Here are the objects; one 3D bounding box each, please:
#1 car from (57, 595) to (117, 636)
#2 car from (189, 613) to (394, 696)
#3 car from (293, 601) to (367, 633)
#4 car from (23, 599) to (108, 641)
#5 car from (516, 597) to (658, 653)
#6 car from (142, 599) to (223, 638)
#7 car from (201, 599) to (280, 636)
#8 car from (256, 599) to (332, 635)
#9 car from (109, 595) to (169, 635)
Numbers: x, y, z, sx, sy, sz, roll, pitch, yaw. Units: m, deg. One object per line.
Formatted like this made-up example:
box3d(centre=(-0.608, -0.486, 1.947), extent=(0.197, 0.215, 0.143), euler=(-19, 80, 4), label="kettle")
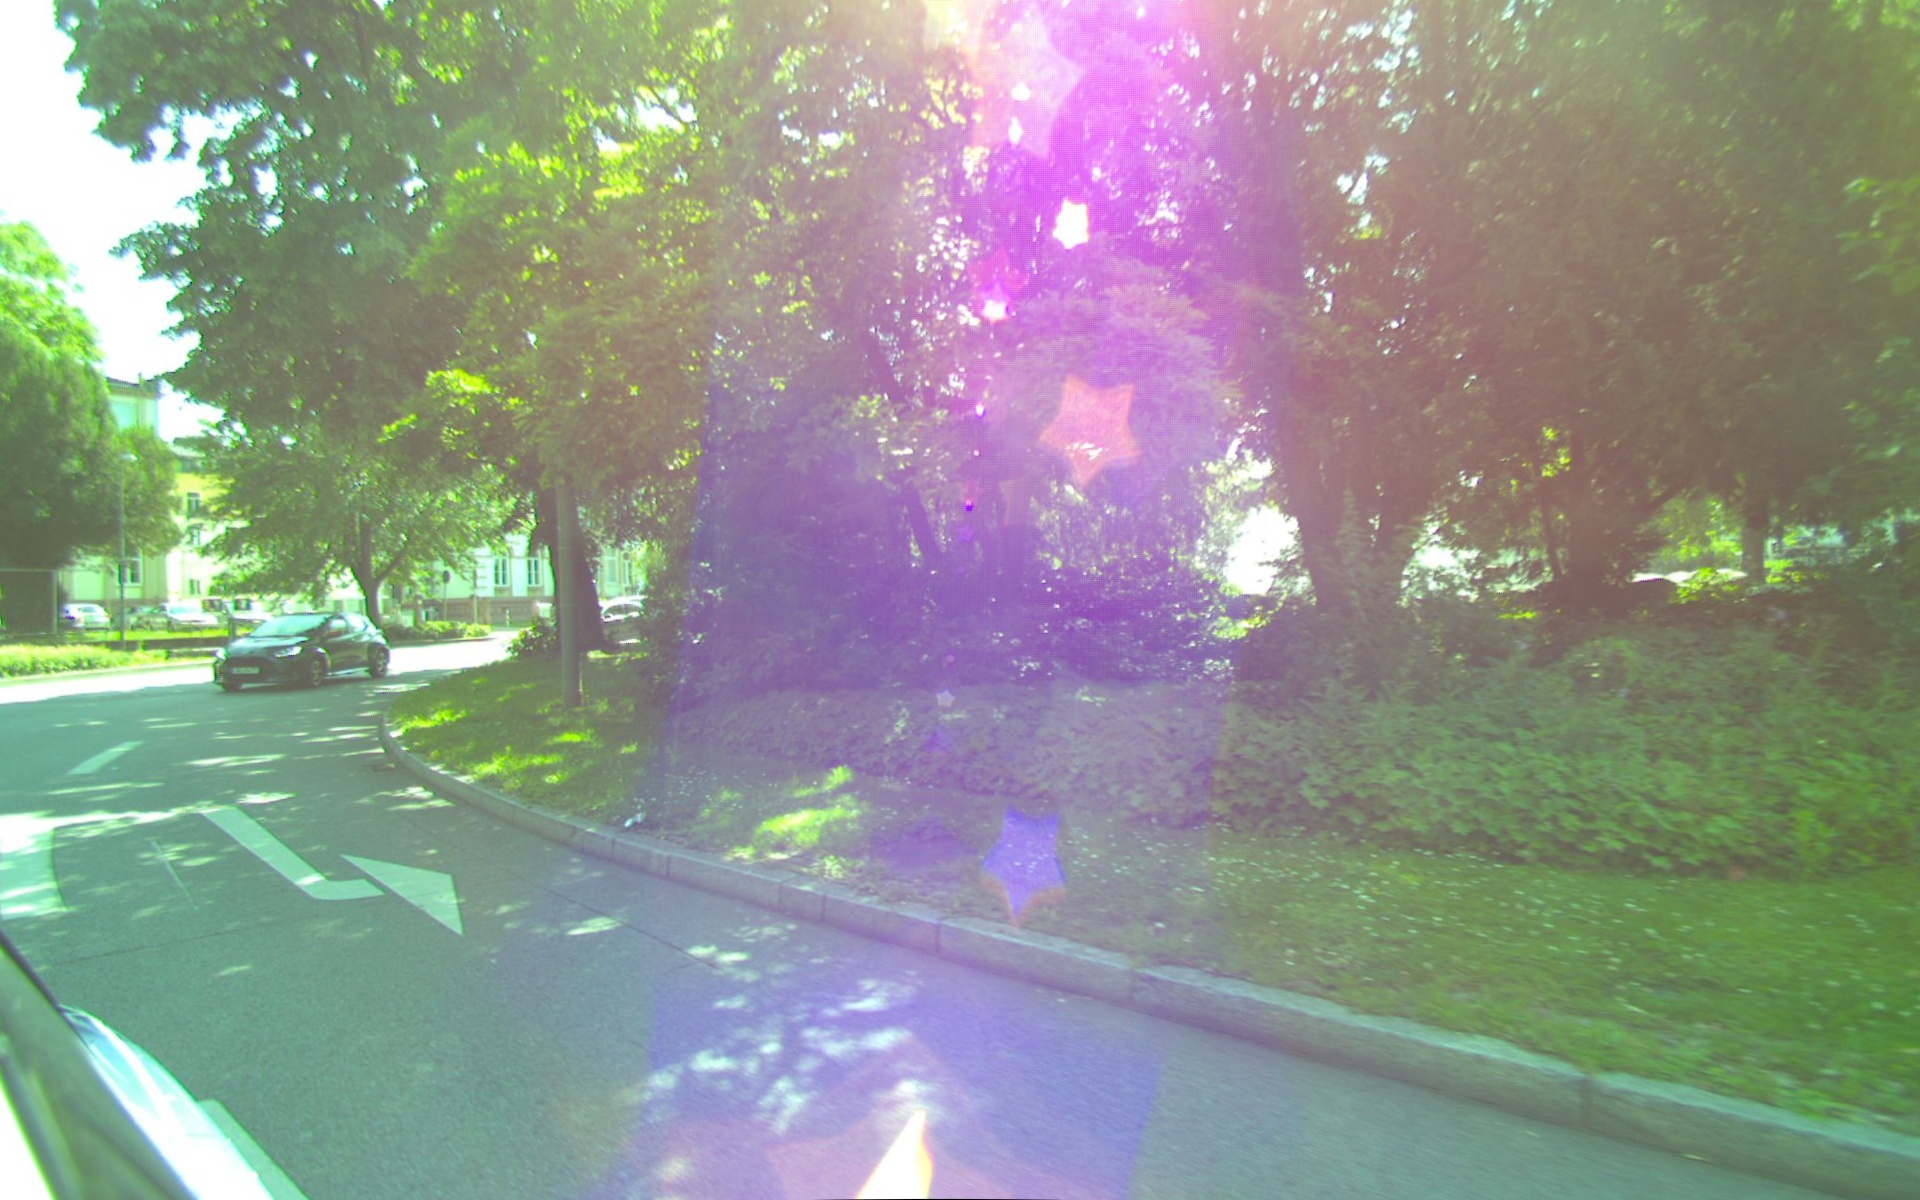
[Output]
box3d(centre=(-45.582, 0.806, 52.828), extent=(3.998, 2.029, 1.827), euler=(-2, 0, 41), label="car")
box3d(centre=(-13.562, 1.034, 20.831), extent=(1.785, 1.462, 3.957), euler=(-2, 0, -4), label="car")
box3d(centre=(-32.755, 0.885, 52.598), extent=(3.990, 1.590, 1.830), euler=(-2, 0, 35), label="car")
box3d(centre=(-38.368, 0.870, 43.371), extent=(3.990, 1.674, 1.830), euler=(-2, 0, 35), label="car")
box3d(centre=(-12.109, 0.785, 33.071), extent=(1.885, 1.696, 4.097), euler=(0, -1, 32), label="car")
box3d(centre=(-35.683, 0.853, 46.423), extent=(3.990, 1.674, 1.830), euler=(-2, 0, 35), label="car")
box3d(centre=(-34.527, 0.848, 48.554), extent=(3.990, 1.674, 1.830), euler=(-2, 0, 35), label="car")
box3d(centre=(-33.276, 0.842, 50.544), extent=(3.990, 1.674, 1.830), euler=(-2, 0, 35), label="car")
box3d(centre=(-44.142, 0.796, 54.362), extent=(3.998, 2.029, 1.827), euler=(-2, 0, 41), label="car")
